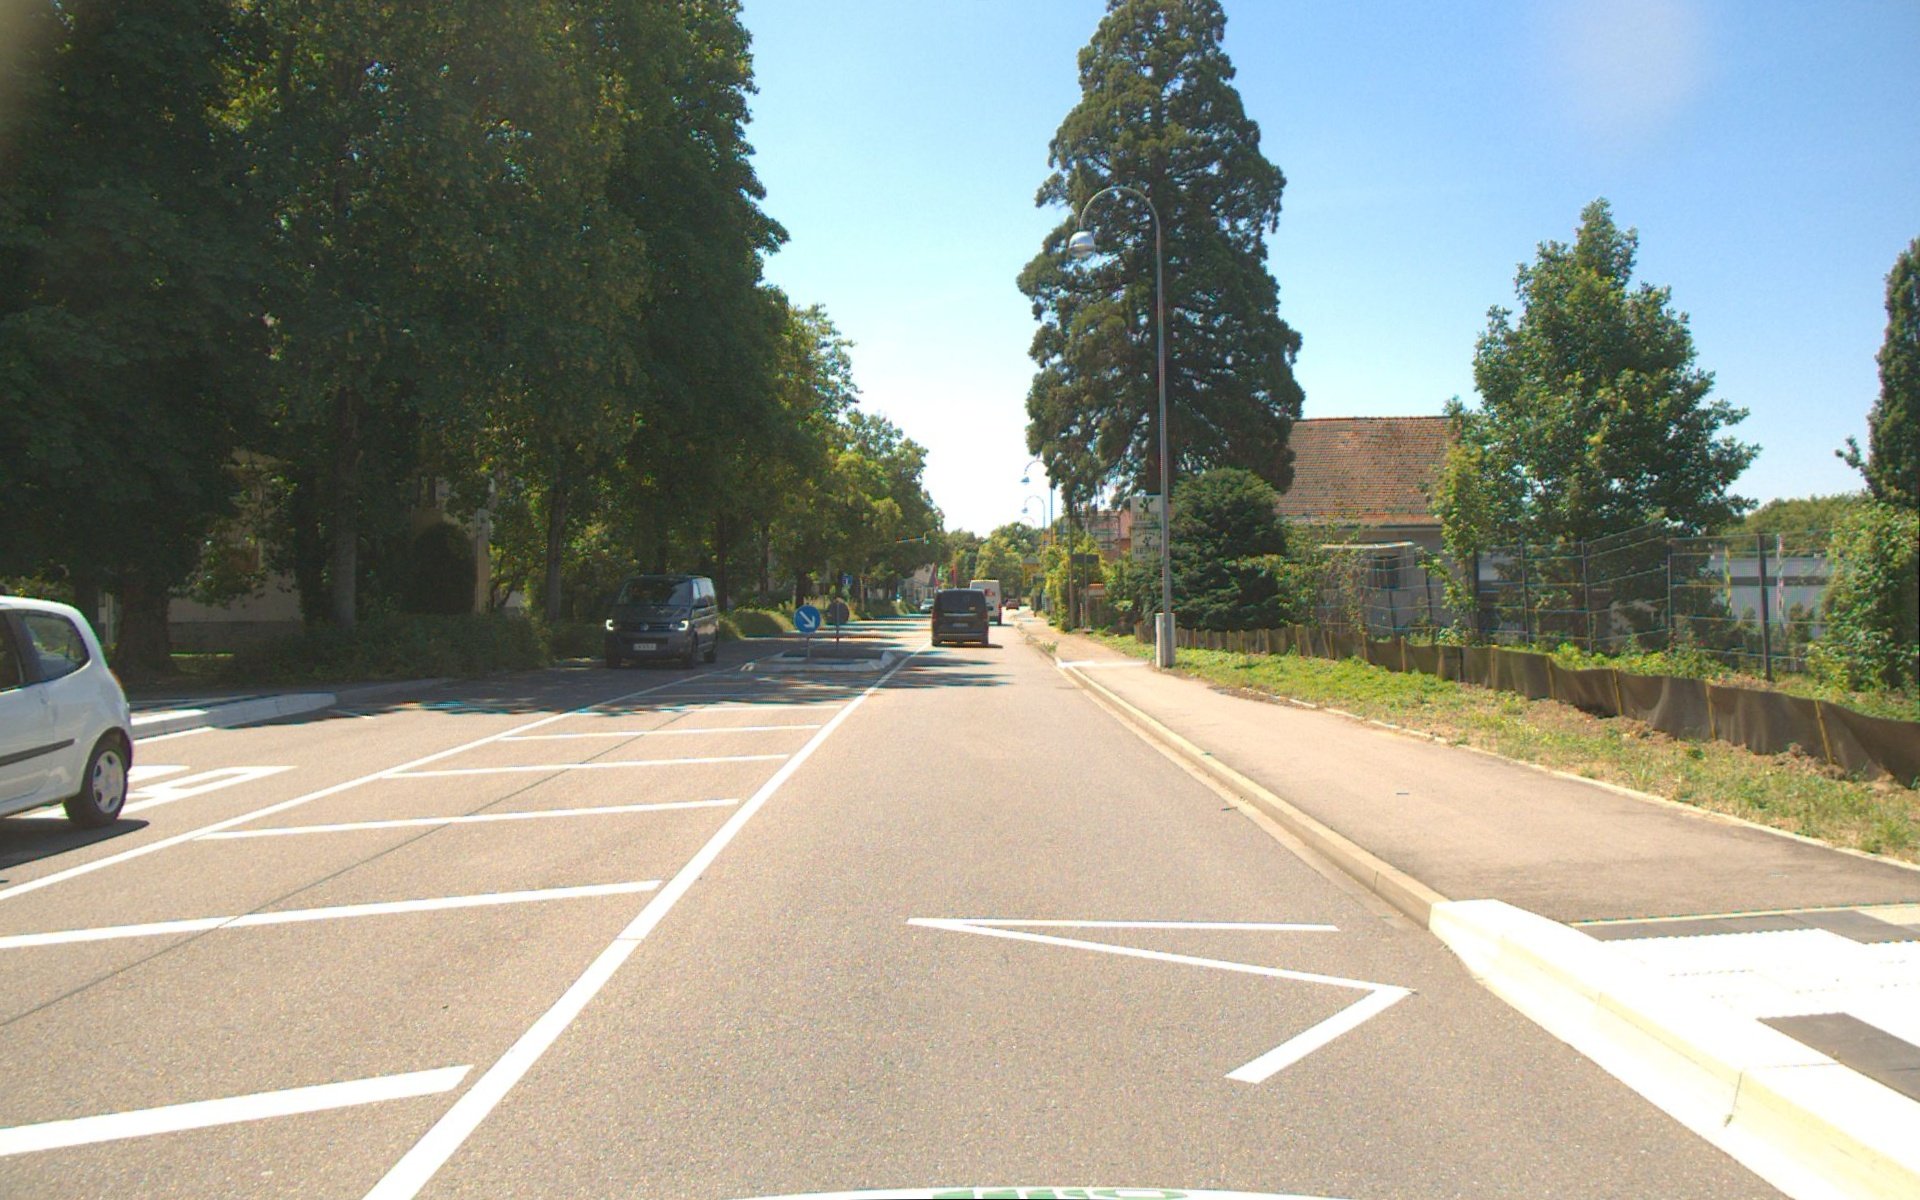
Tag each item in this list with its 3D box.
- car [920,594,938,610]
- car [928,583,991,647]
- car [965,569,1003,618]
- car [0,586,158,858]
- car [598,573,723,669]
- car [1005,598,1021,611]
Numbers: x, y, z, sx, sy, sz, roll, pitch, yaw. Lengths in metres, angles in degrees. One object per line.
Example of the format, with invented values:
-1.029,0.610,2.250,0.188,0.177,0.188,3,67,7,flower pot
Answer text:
-2.980,0.187,159.107,1.686,1.452,4.147,1,0,0,car
-0.051,0.459,53.987,1.953,1.926,3.999,1,1,-1,car
1.432,-0.420,97.480,2.076,2.724,5.664,1,1,2,car
-6.206,0.692,9.327,1.656,1.485,3.639,1,1,-1,car
-6.497,0.401,36.386,1.953,1.943,4.990,0,1,-2,car
7.189,0.623,225.709,1.820,1.671,3.998,1,1,-3,car
